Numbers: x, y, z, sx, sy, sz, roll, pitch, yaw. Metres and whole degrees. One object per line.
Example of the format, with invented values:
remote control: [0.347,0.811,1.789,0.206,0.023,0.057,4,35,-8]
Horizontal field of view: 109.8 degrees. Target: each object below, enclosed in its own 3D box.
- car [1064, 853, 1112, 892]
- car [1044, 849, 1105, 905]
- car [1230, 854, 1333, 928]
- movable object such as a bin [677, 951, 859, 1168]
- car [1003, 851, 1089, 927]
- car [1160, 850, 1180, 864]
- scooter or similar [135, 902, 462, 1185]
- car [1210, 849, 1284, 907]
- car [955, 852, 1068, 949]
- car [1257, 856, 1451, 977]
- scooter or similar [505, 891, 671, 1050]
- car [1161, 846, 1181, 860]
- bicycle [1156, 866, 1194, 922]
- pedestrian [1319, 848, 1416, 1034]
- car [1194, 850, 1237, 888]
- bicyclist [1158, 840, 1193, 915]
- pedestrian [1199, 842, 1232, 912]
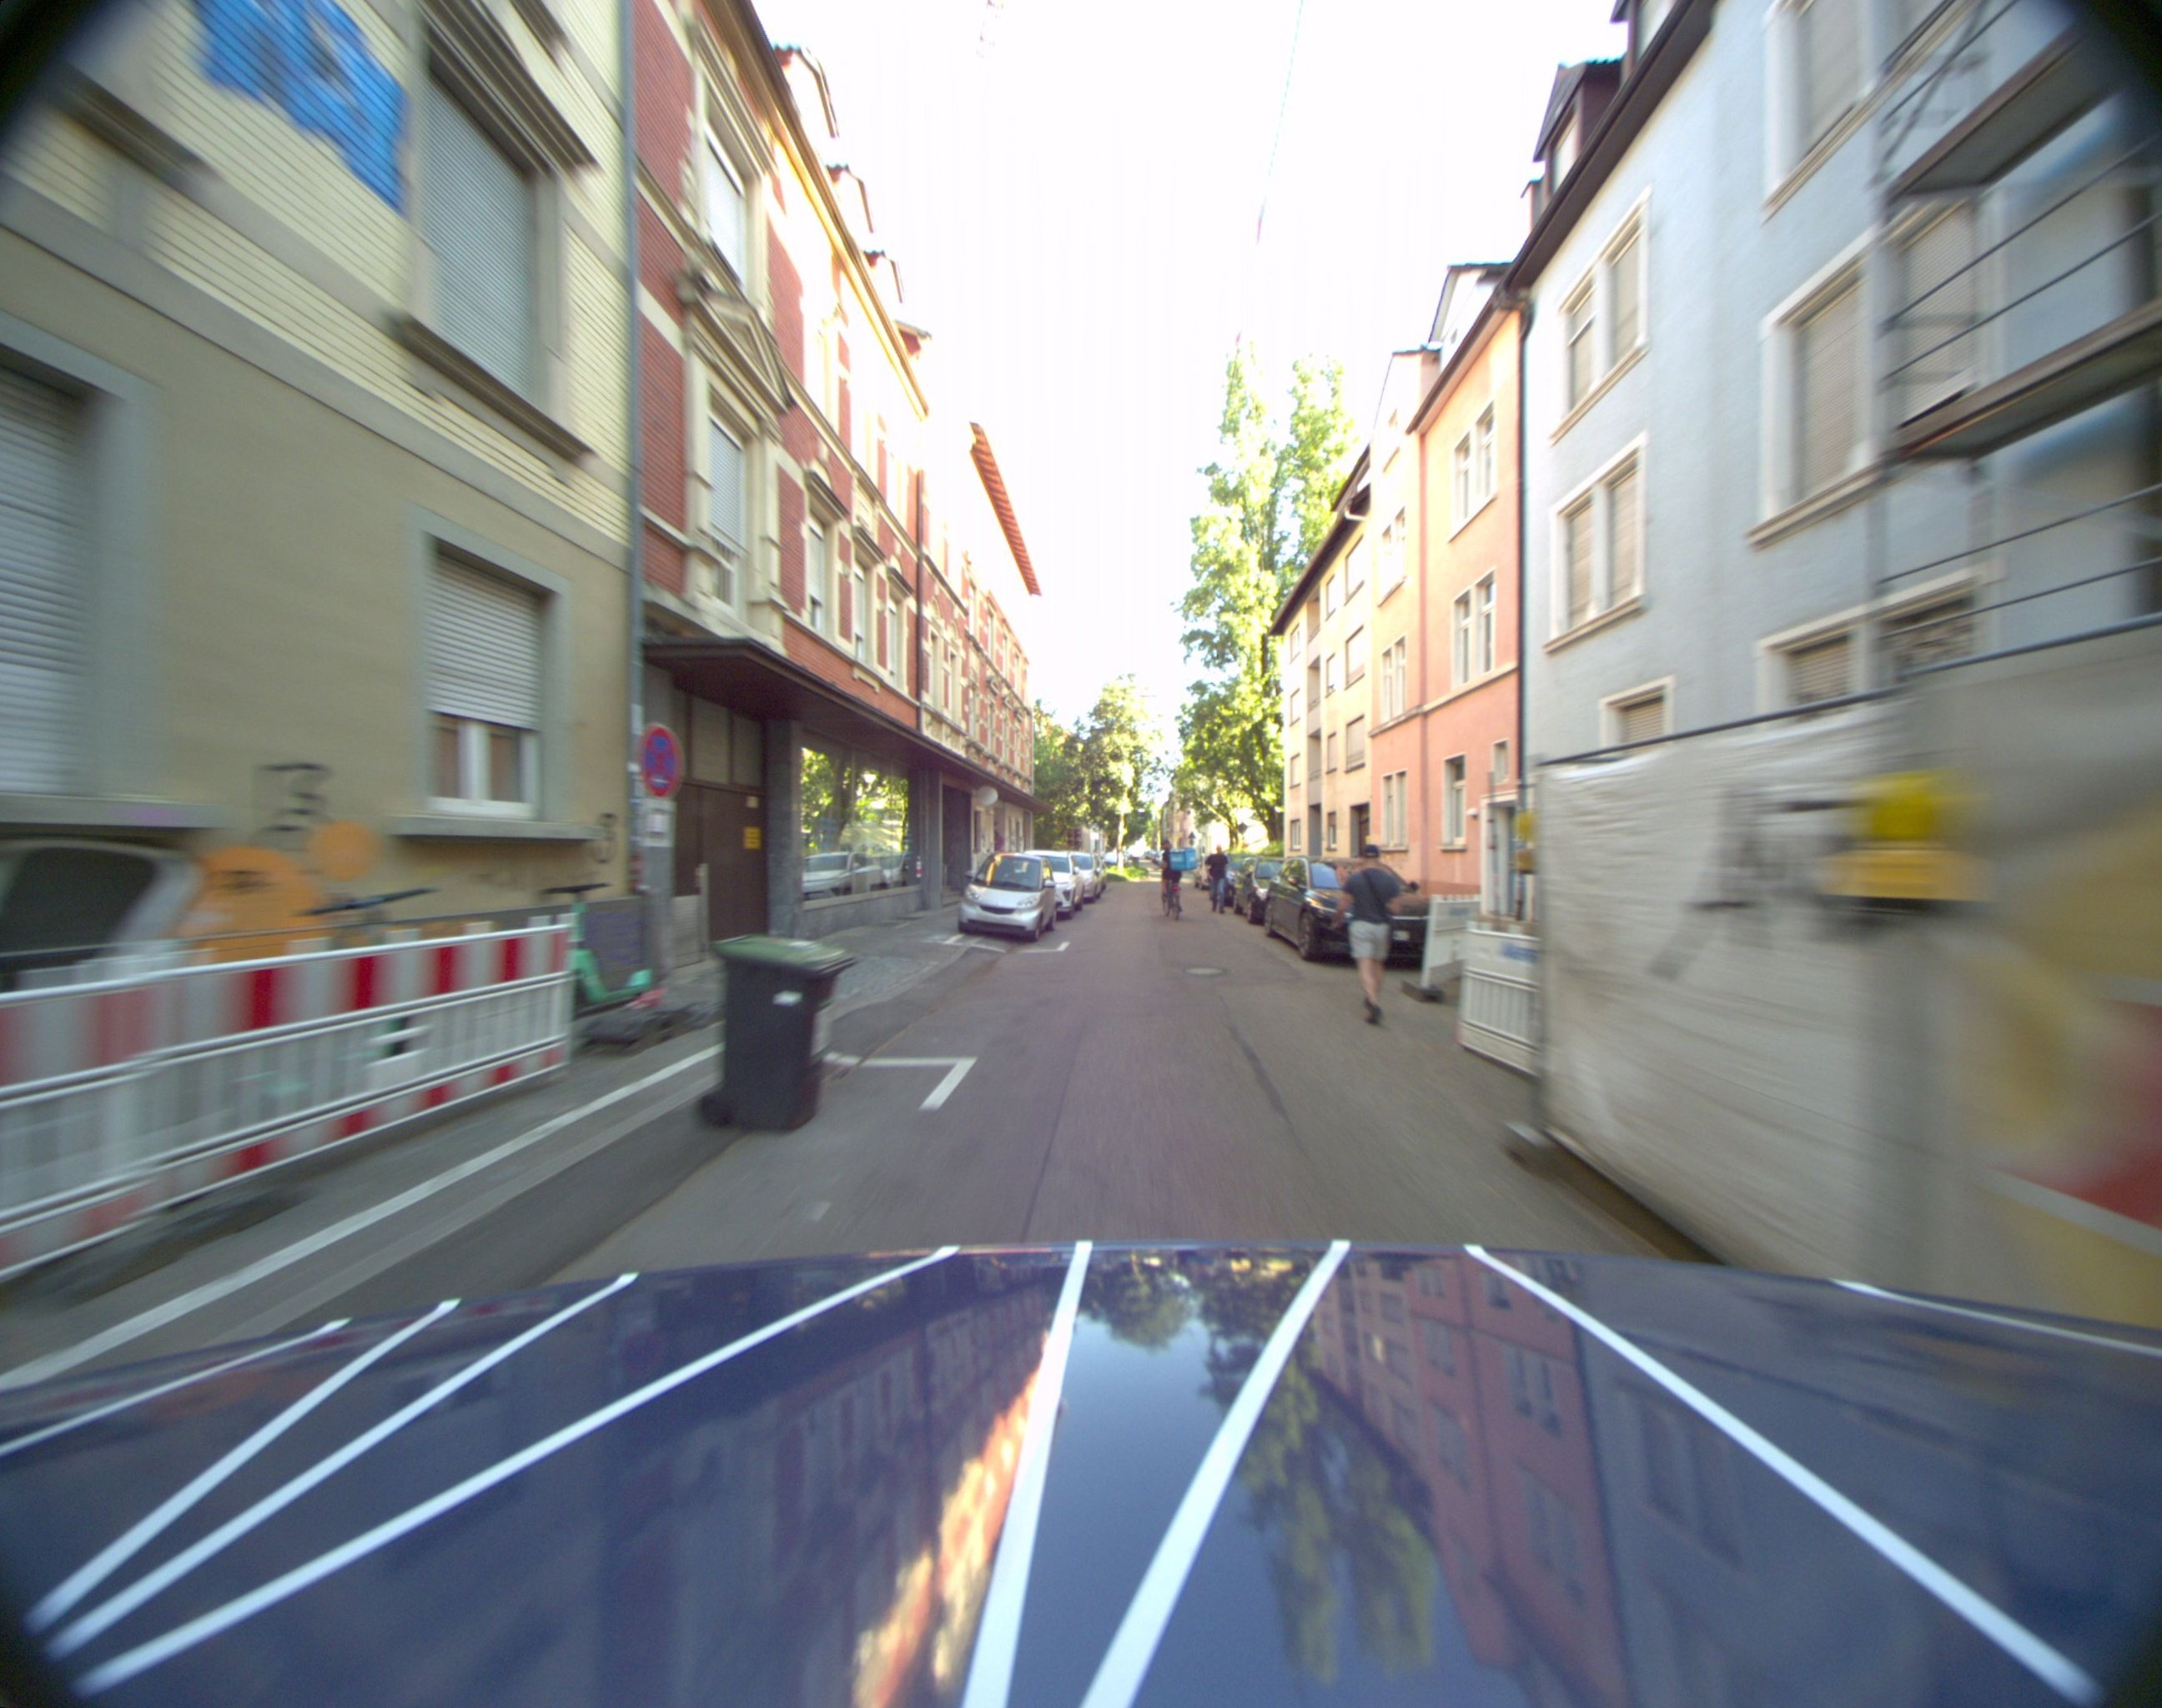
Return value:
car: [0.337,0.708,31.428,1.646,1.442,4.167,-2,0,5]
car: [-0.126,0.687,24.821,1.603,1.626,3.775,-2,0,5]
car: [4.554,0.763,17.776,1.646,1.483,4.001,0,1,5]
movable object such as a bin: [-1.778,1.143,4.409,0.742,1.051,0.687,1,1,4]
car: [-0.776,0.787,19.258,1.603,1.652,4.061,-2,0,5]
car: [8.538,0.301,72.849,1.759,1.293,4.250,1,1,5]
scooter or similar: [-4.257,0.944,4.286,0.456,1.203,1.443,3,1,-8]
car: [4.966,0.658,23.273,1.646,1.565,4.250,1,1,5]
car: [-1.245,0.796,14.944,1.525,1.526,3.464,5,1,4]
car: [4.120,0.827,12.335,1.770,1.500,4.697,1,1,5]
scooter or similar: [-4.241,0.943,6.655,0.389,1.137,1.444,4,1,4]
car: [10.347,-0.153,87.222,2.167,1.509,5.378,1,1,6]
bicycle: [2.140,0.889,17.440,0.688,1.151,1.846,2,1,2]
pedestrian: [2.665,0.772,7.152,0.594,1.634,0.813,2,1,4]
car: [5.730,0.612,32.657,1.464,1.512,3.661,1,0,5]
bicyclist: [2.136,0.514,17.314,0.666,1.668,0.893,2,1,2]
pedestrian: [3.433,0.568,19.450,0.739,1.743,0.998,0,1,5]
